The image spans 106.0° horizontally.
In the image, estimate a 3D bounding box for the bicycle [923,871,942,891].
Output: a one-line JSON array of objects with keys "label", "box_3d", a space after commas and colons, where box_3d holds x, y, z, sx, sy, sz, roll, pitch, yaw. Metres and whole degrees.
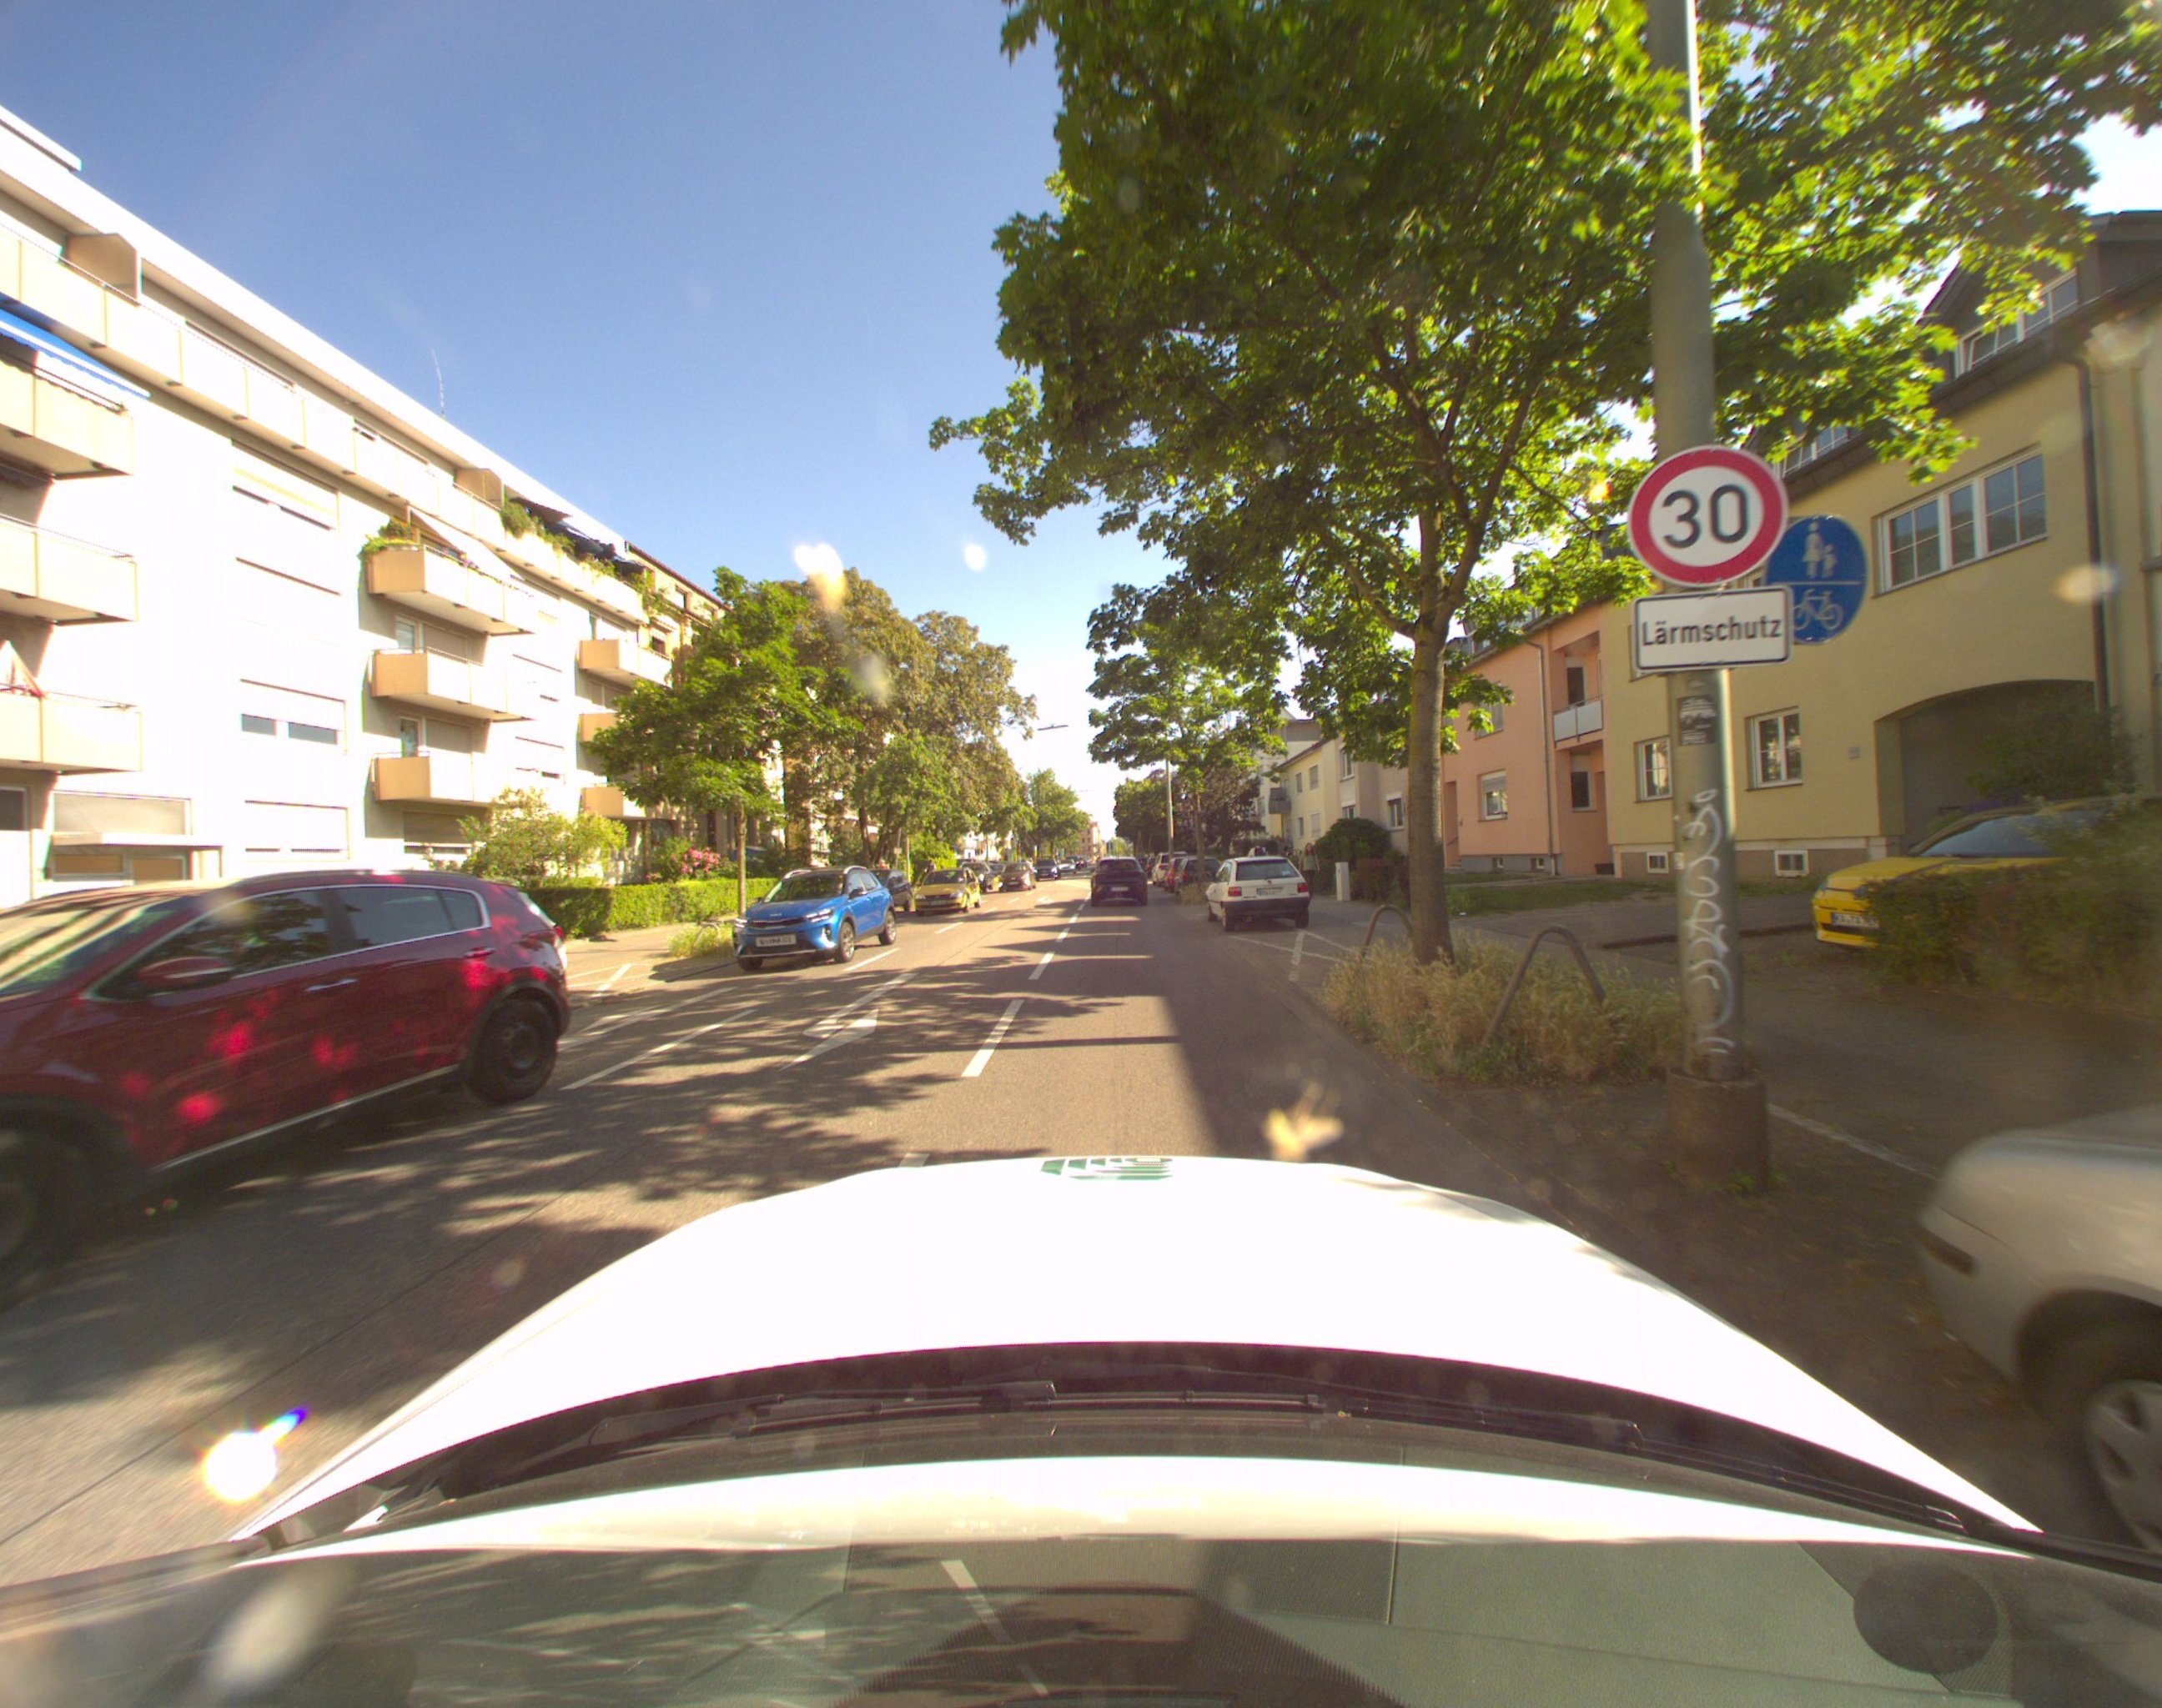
[{"label": "bicycle", "box_3d": [-8.232, 1.485, 45.082, 0.606, 1.073, 1.744, -3, 0, 2]}]

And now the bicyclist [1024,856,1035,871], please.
[{"label": "bicyclist", "box_3d": [-6.259, 1.170, 99.081, 1.055, 1.824, 0.656, -3, -1, -21]}]

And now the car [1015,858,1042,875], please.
[{"label": "car", "box_3d": [-4.539, 1.048, 70.778, 1.826, 1.389, 4.804, -1, 0, 2]}]

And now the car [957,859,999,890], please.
[{"label": "car", "box_3d": [-5.648, 1.093, 45.102, 1.618, 1.588, 4.349, -1, 0, 1]}]

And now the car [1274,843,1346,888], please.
[{"label": "car", "box_3d": [8.068, 0.388, 28.943, 1.526, 1.356, 3.720, -5, 0, 2]}]

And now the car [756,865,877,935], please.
[{"label": "car", "box_3d": [-6.934, 1.141, 21.858, 1.664, 1.605, 4.395, -2, 0, 1]}]

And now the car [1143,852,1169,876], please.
[{"label": "car", "box_3d": [5.169, 0.664, 56.124, 1.613, 1.499, 3.652, -3, 0, 4]}]

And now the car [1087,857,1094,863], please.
[{"label": "car", "box_3d": [2.725, 1.675, 230.088, 1.784, 1.617, 4.003, -3, 0, 3]}]

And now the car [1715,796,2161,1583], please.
[{"label": "car", "box_3d": [2.697, 0.579, 0.573, 1.560, 1.457, 3.868, -4, 0, 3]}]

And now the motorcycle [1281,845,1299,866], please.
[{"label": "motorcycle", "box_3d": [14.459, 0.116, 56.342, 0.634, 1.375, 2.427, -3, 0, 2]}]

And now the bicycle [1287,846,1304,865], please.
[{"label": "bicycle", "box_3d": [15.328, 0.081, 58.204, 0.595, 1.303, 2.427, -3, 0, 2]}]

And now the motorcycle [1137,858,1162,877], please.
[{"label": "motorcycle", "box_3d": [5.097, 1.014, 60.675, 0.701, 1.271, 2.411, -4, 0, -25]}]

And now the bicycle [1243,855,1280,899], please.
[{"label": "bicycle", "box_3d": [5.403, 0.671, 24.495, 0.695, 1.247, 1.823, -4, 0, 2]}]

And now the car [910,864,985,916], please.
[{"label": "car", "box_3d": [-4.231, 1.107, 26.330, 1.629, 1.403, 3.737, -4, 0, 1]}]

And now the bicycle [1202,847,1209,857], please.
[{"label": "bicycle", "box_3d": [16.367, -0.258, 107.380, 0.589, 1.287, 1.690, -5, 0, 3]}]

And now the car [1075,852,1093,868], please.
[{"label": "car", "box_3d": [0.414, 0.766, 106.397, 2.009, 1.952, 5.180, -4, 0, 1]}]

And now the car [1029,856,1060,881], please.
[{"label": "car", "box_3d": [-2.674, 1.071, 60.704, 1.830, 1.613, 4.402, -5, 0, 2]}]

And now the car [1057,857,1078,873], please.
[{"label": "car", "box_3d": [-1.269, 1.053, 79.738, 1.726, 1.412, 4.194, -5, 0, 2]}]

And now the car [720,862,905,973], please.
[{"label": "car", "box_3d": [-4.518, 0.979, 14.374, 1.649, 1.517, 4.078, -5, 0, 2]}]

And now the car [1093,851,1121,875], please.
[{"label": "car", "box_3d": [1.904, 0.618, 58.542, 1.822, 1.578, 3.842, -3, 0, 3]}]

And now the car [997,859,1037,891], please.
[{"label": "car", "box_3d": [-3.287, 1.073, 42.356, 1.575, 1.451, 3.746, -4, 0, 1]}]

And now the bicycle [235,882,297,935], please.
[{"label": "bicycle", "box_3d": [-17.388, 1.145, 17.373, 1.540, 1.060, 0.507, -1, 1, 29]}]

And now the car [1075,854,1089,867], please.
[{"label": "car", "box_3d": [0.122, 0.976, 123.583, 1.809, 1.743, 4.495, -5, 0, 2]}]

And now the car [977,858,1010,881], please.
[{"label": "car", "box_3d": [-5.797, 0.997, 54.434, 1.630, 1.417, 4.092, -1, 0, 2]}]

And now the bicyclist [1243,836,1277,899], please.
[{"label": "bicyclist", "box_3d": [5.385, 0.398, 24.579, 0.721, 1.793, 1.016, -4, 0, 2]}]

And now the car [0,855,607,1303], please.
[{"label": "car", "box_3d": [-4.793, 0.904, 4.325, 1.714, 1.617, 4.303, -5, 0, 3]}]

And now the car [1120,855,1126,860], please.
[{"label": "car", "box_3d": [13.208, 1.004, 255.130, 1.985, 1.519, 4.004, 0, -1, 4]}]

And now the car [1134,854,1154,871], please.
[{"label": "car", "box_3d": [5.548, 0.714, 72.417, 1.580, 1.396, 4.457, -4, 0, 3]}]

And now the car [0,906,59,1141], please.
[{"label": "car", "box_3d": [-7.580, 1.112, 3.501, 1.500, 1.475, 3.892, -2, 0, -2]}]

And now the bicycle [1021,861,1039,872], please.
[{"label": "bicycle", "box_3d": [-6.213, 1.537, 99.061, 2.194, 1.193, 0.446, -3, -1, -22]}]

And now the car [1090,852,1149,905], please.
[{"label": "car", "box_3d": [1.234, 0.753, 26.396, 1.738, 1.573, 3.560, -1, 0, 2]}]

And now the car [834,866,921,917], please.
[{"label": "car", "box_3d": [-6.662, 1.173, 27.065, 1.594, 1.477, 3.935, -2, 0, 4]}]

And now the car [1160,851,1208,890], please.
[{"label": "car", "box_3d": [4.238, 0.642, 33.919, 1.526, 1.449, 3.718, -3, 0, 1]}]

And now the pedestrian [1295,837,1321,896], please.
[{"label": "pedestrian", "box_3d": [6.666, 0.364, 23.897, 0.536, 1.677, 0.494, -4, -1, 2]}]

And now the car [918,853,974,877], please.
[{"label": "car", "box_3d": [-11.464, 0.946, 69.216, 4.334, 1.879, 1.865, -2, 0, -24]}]

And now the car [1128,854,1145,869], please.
[{"label": "car", "box_3d": [5.771, 0.759, 84.192, 1.684, 1.428, 4.153, -3, 0, 5]}]

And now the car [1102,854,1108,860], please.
[{"label": "car", "box_3d": [6.689, 0.772, 226.972, 1.766, 1.452, 3.885, -3, 0, 0]}]

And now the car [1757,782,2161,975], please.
[{"label": "car", "box_3d": [9.512, 0.154, 8.064, 3.972, 1.441, 1.832, -6, 0, 2]}]

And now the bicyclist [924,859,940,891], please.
[{"label": "bicyclist", "box_3d": [-8.237, 1.148, 45.052, 0.606, 1.754, 0.692, -3, 0, 2]}]

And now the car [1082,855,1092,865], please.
[{"label": "car", "box_3d": [1.126, 1.147, 150.861, 1.800, 1.648, 4.674, -5, 0, 1]}]

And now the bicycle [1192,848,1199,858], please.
[{"label": "bicycle", "box_3d": [15.204, -0.171, 107.934, 0.620, 1.287, 1.843, -5, 0, 3]}]

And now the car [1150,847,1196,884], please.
[{"label": "car", "box_3d": [4.500, 0.543, 40.566, 1.763, 1.659, 4.341, -4, 0, 1]}]

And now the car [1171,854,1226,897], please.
[{"label": "car", "box_3d": [4.141, 0.737, 29.177, 1.526, 1.356, 3.720, -3, 0, 2]}]

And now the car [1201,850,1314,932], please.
[{"label": "car", "box_3d": [3.563, 0.690, 17.067, 1.642, 1.403, 3.973, -4, 0, 3]}]
